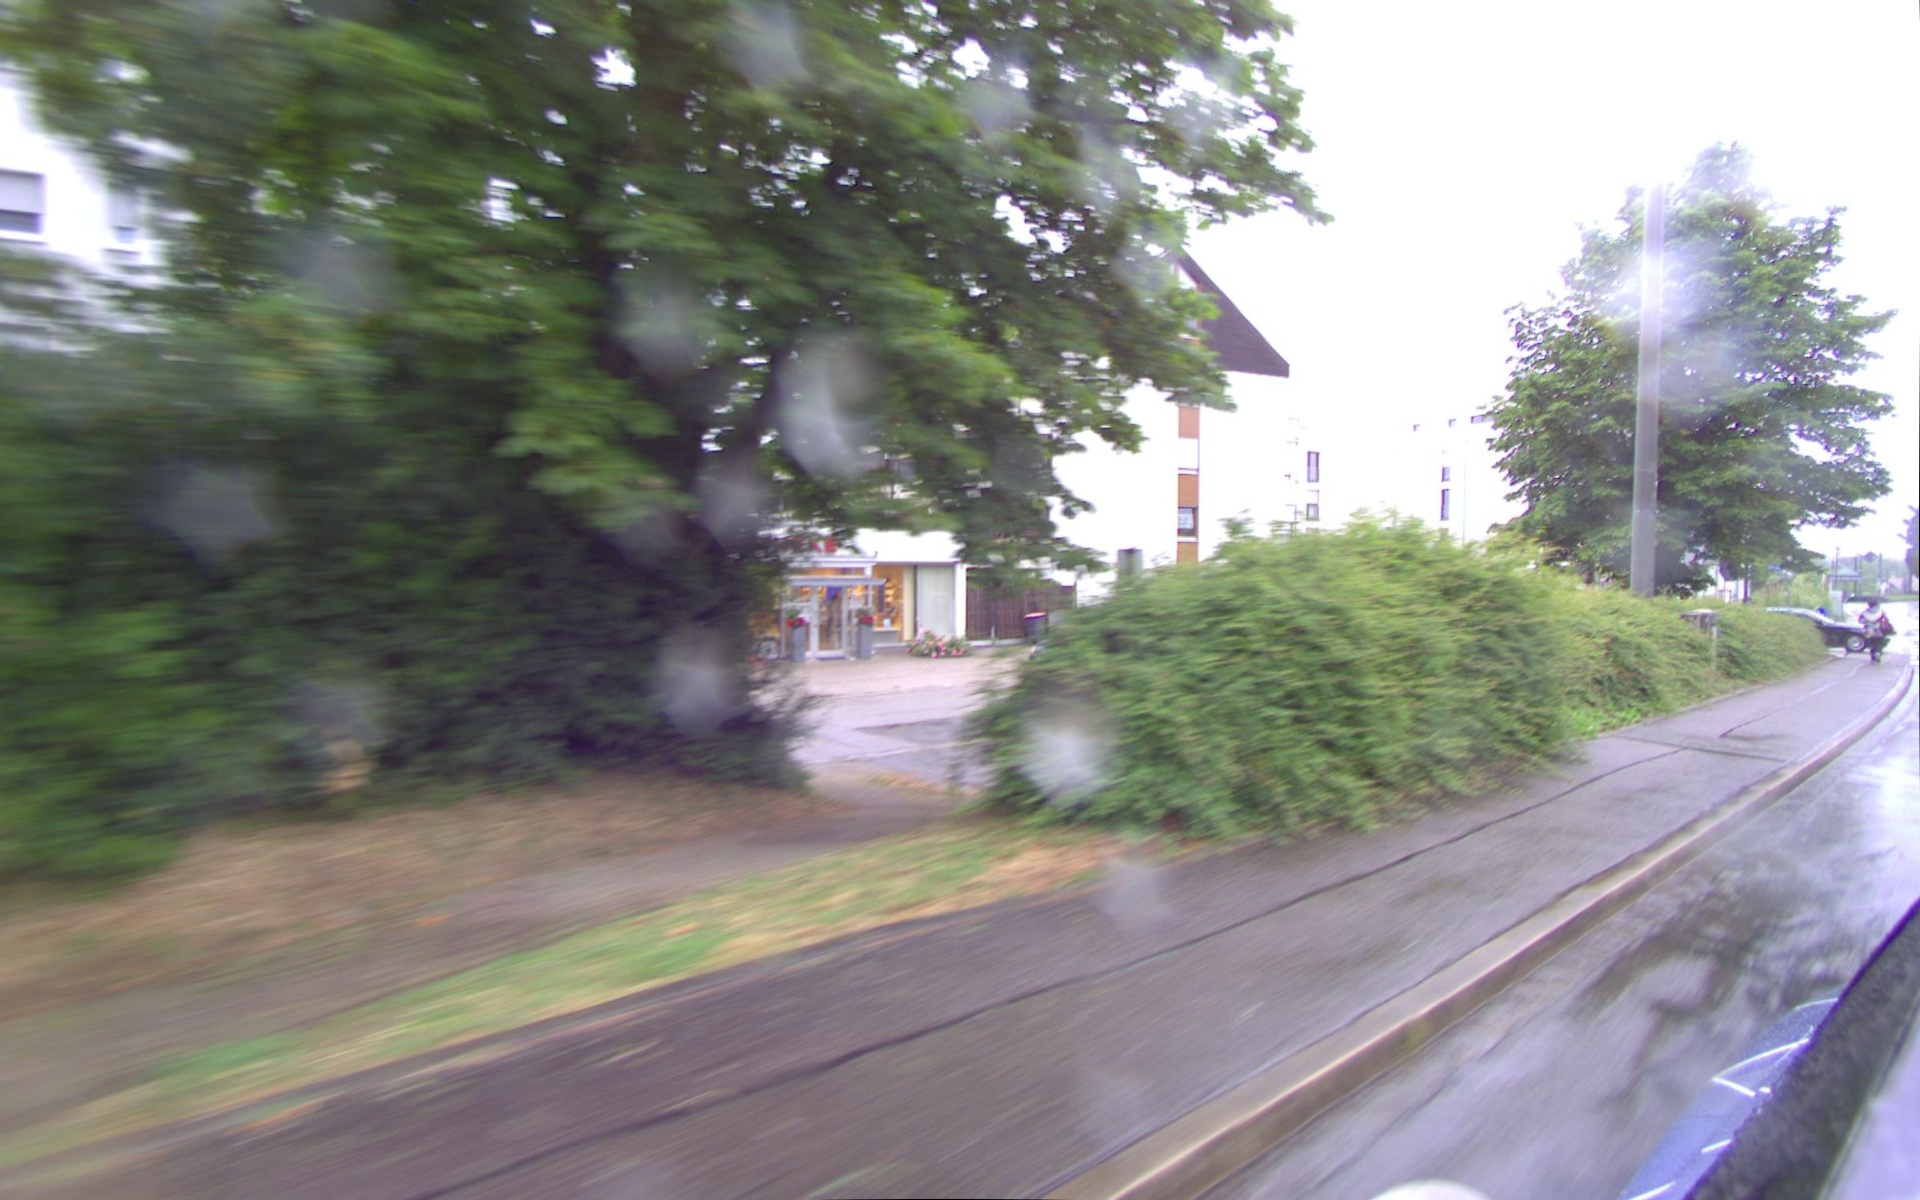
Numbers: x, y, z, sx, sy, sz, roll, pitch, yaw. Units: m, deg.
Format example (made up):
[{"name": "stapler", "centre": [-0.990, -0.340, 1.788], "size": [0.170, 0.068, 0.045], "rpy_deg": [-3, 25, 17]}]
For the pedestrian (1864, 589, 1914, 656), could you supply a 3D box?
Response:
[{"name": "pedestrian", "centre": [22.673, 0.535, 24.694], "size": [0.858, 1.545, 0.770], "rpy_deg": [1, 2, -43]}]

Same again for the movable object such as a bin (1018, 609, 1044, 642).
[{"name": "movable object such as a bin", "centre": [2.484, 0.887, 35.328], "size": [0.592, 1.143, 0.739], "rpy_deg": [1, -1, -27]}]

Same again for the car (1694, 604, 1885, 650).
[{"name": "car", "centre": [28.029, 0.914, 34.333], "size": [1.777, 1.432, 4.801], "rpy_deg": [-1, -1, -43]}]
